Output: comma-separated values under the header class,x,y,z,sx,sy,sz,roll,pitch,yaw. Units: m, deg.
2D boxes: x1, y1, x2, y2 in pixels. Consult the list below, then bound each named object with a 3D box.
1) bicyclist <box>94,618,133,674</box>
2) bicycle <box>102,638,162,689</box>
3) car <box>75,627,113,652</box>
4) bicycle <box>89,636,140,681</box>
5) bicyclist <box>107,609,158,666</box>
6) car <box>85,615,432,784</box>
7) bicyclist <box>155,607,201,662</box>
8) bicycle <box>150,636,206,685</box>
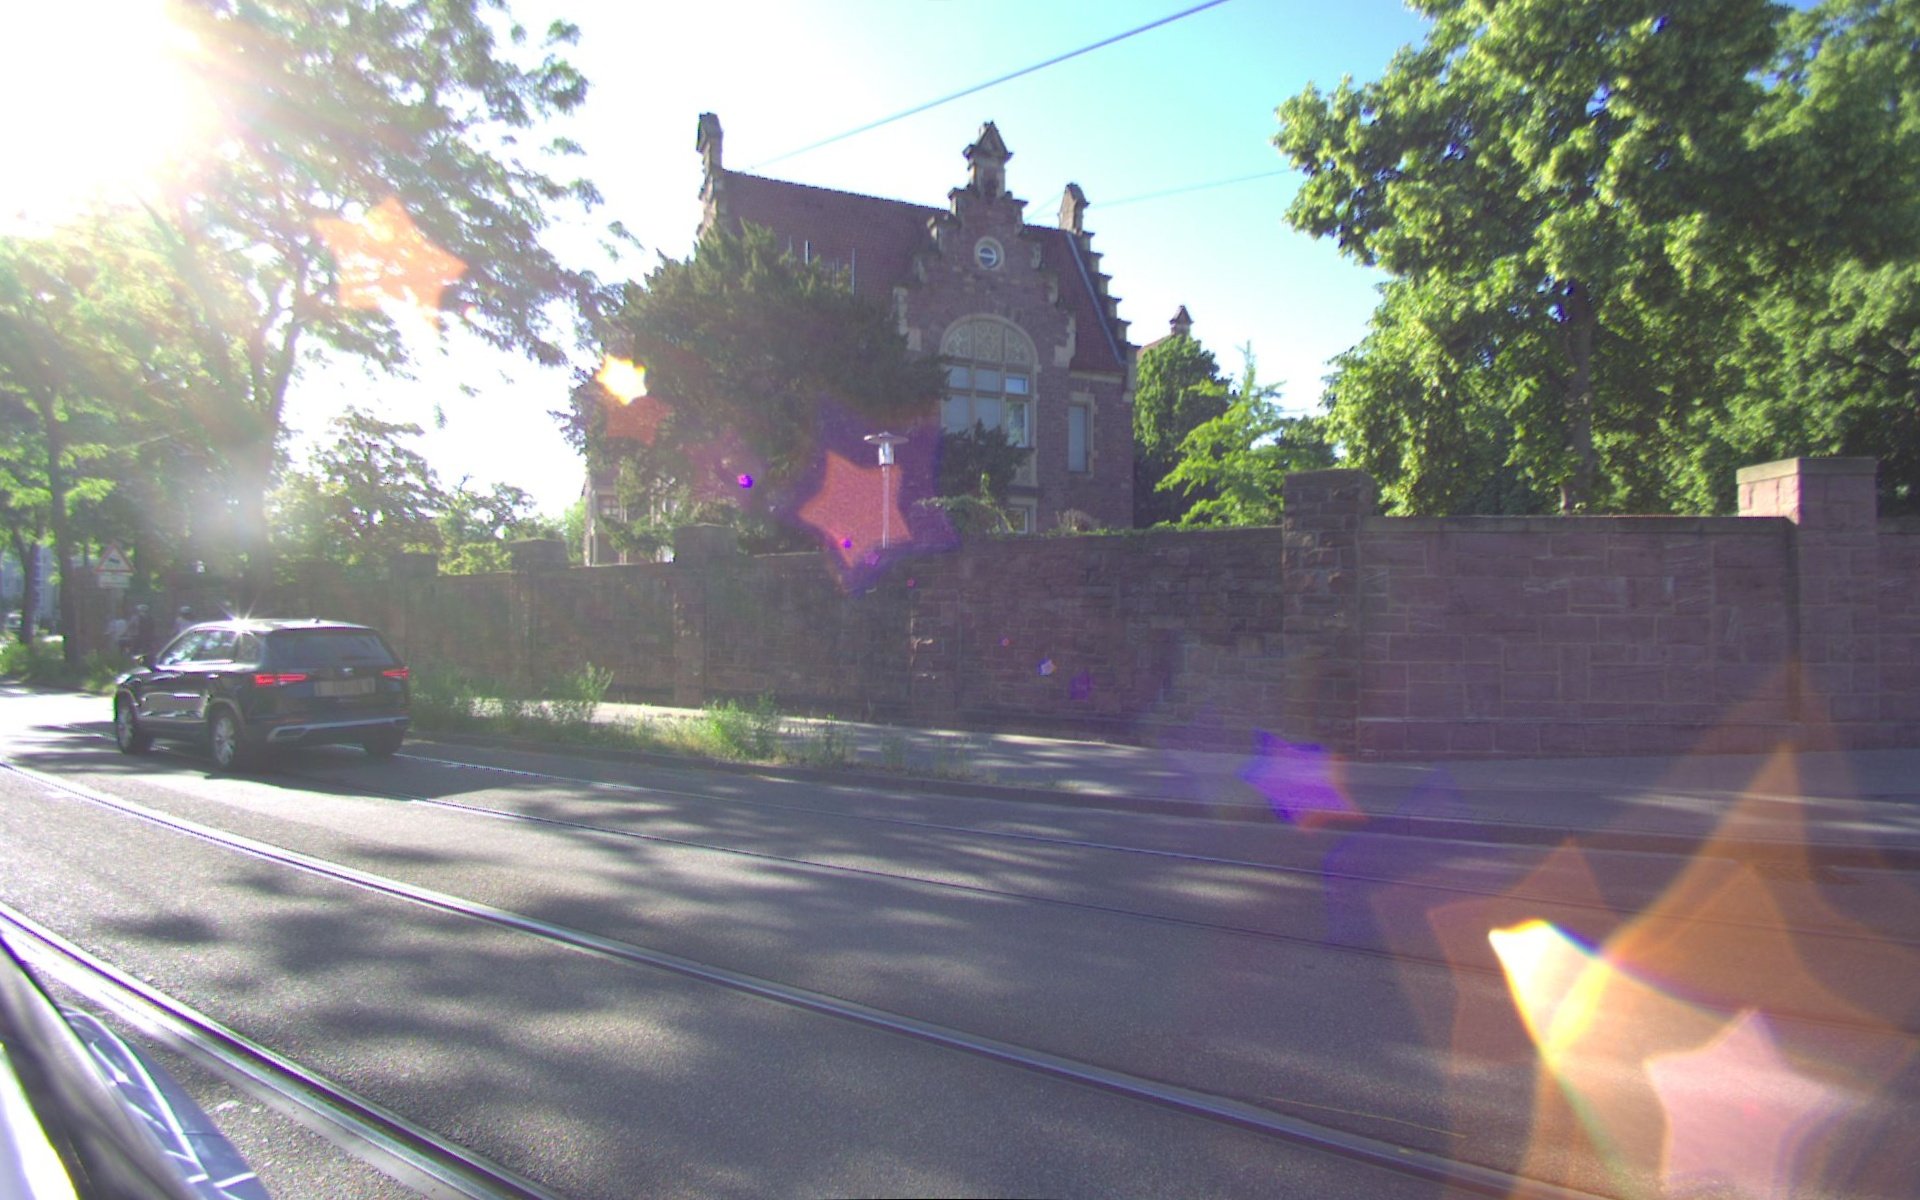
class,x,y,z,sx,sy,sz,roll,pitch,yaw
bicyclist,-23.982,1.295,28.676,0.750,1.546,0.735,-1,-1,39
bicycle,-20.934,1.581,25.572,2.101,1.200,0.764,-1,-1,39
car,-64.457,2.897,75.369,1.803,1.824,4.009,1,-2,-36
bicycle,-23.963,1.630,28.656,2.086,1.200,0.738,-1,-1,39
bicyclist,-20.881,0.936,25.534,1.271,1.401,0.759,-1,-1,39
car,-8.190,1.063,11.727,4.105,1.629,1.906,-3,-2,33
bicyclist,-20.293,0.881,26.271,1.060,1.401,0.724,-1,-1,39
bicycle,-20.353,1.551,26.323,2.086,1.200,0.724,-1,-1,39
